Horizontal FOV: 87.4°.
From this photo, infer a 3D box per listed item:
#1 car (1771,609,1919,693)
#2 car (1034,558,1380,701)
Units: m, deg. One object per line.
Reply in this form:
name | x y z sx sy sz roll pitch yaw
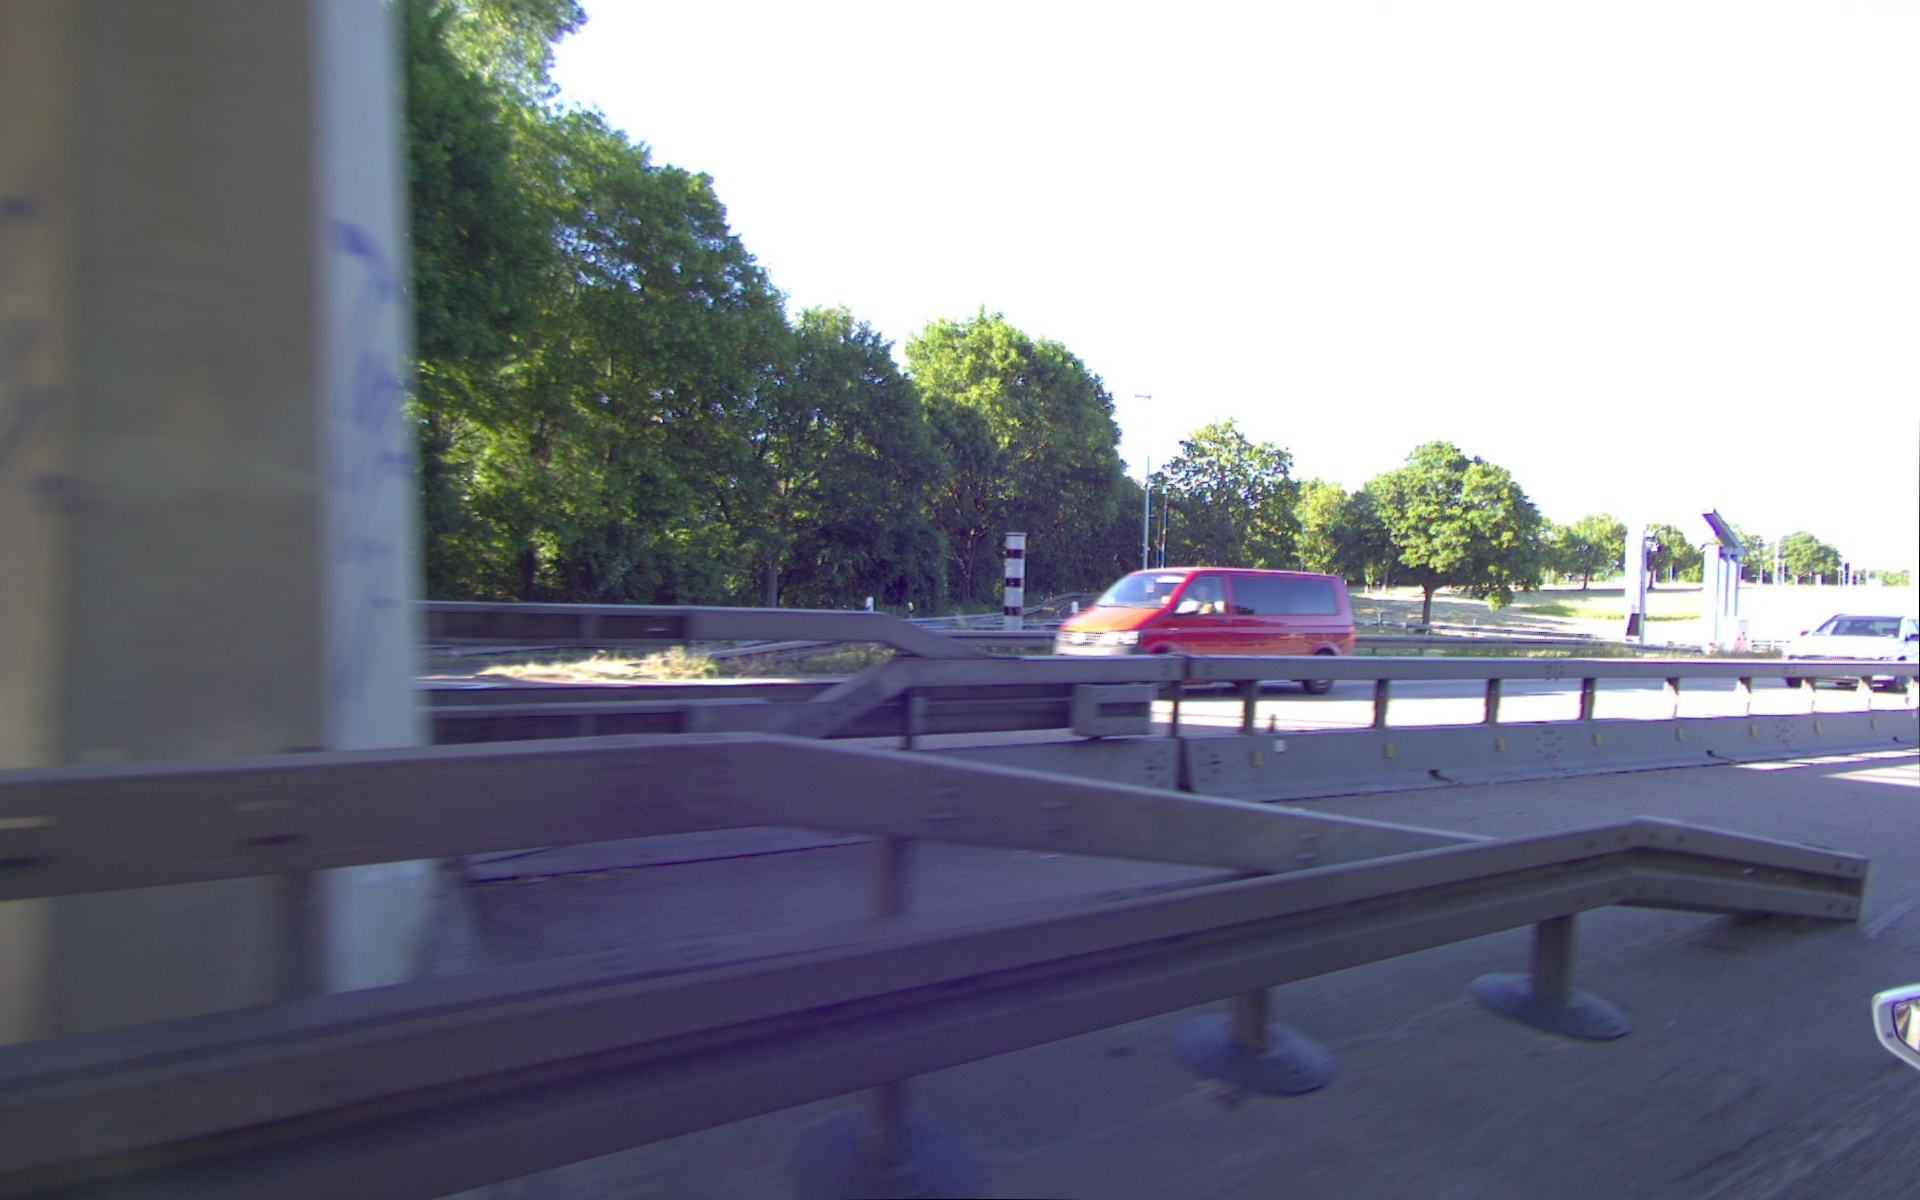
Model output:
car | 19.332 1.064 21.405 4.481 1.599 1.778 2 -1 -31
car | 3.980 0.462 15.802 5.458 1.936 1.983 2 0 -31
